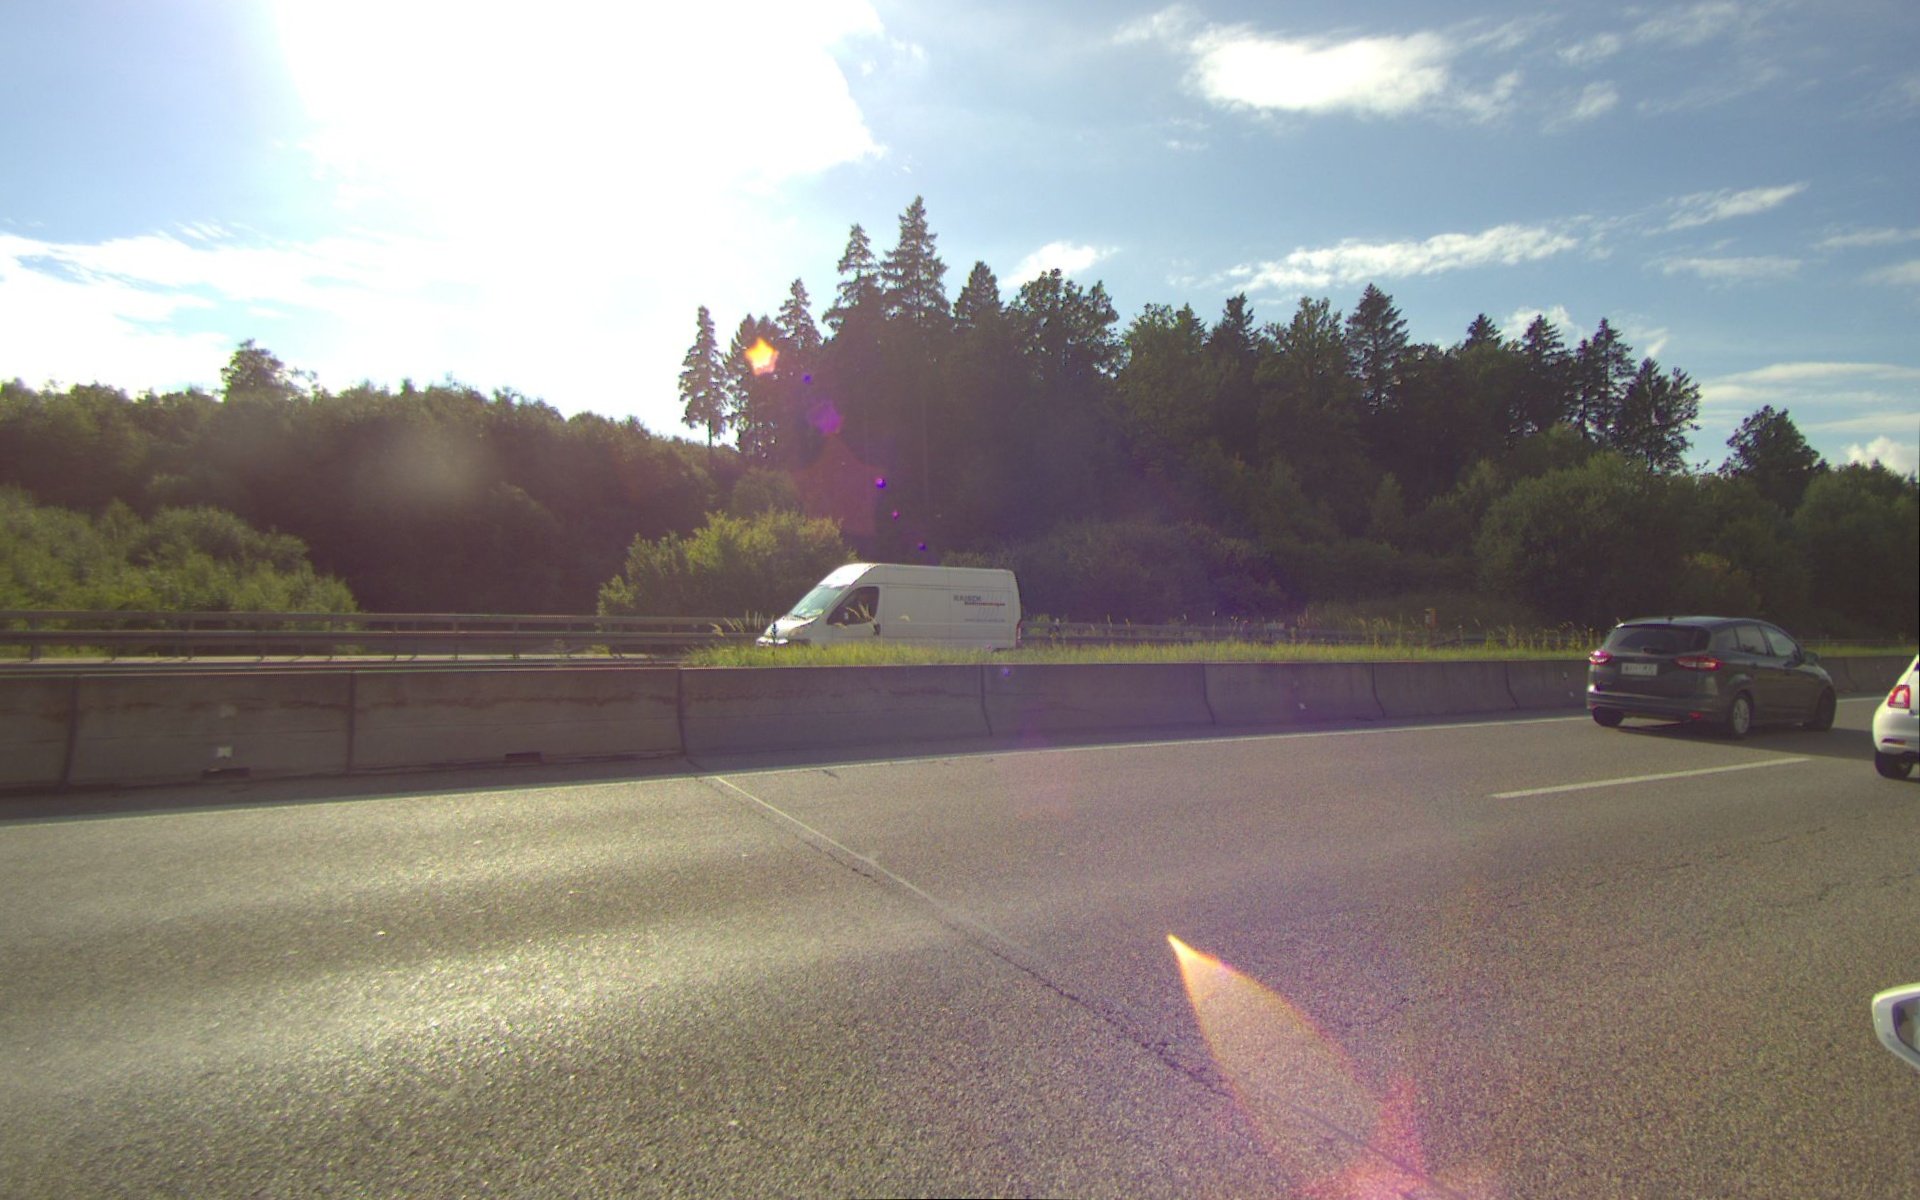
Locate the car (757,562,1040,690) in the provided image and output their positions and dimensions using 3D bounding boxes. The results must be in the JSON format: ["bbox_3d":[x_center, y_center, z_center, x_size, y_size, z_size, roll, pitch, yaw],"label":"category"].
[{"bbox_3d":[-1.199,0.522,20.568,5.383,2.306,2.086,2,2,-30],"label":"car"}]

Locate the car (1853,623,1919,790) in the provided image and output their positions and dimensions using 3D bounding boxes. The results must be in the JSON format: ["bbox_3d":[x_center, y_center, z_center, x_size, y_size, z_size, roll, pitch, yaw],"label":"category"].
[{"bbox_3d":[10.716,1.063,10.081,3.479,1.565,1.610,2,0,-30],"label":"car"}]

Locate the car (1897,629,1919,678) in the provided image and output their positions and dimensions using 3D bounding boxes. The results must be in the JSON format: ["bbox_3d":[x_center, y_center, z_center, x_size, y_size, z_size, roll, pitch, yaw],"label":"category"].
[{"bbox_3d":[41.717,2.309,42.121,5.222,1.951,2.086,2,2,-30],"label":"car"}]

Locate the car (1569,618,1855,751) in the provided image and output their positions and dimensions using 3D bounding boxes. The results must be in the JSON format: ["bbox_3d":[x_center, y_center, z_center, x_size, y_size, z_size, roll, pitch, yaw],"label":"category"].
[{"bbox_3d":[10.784,1.099,14.347,4.157,1.607,1.798,1,0,-30],"label":"car"}]
